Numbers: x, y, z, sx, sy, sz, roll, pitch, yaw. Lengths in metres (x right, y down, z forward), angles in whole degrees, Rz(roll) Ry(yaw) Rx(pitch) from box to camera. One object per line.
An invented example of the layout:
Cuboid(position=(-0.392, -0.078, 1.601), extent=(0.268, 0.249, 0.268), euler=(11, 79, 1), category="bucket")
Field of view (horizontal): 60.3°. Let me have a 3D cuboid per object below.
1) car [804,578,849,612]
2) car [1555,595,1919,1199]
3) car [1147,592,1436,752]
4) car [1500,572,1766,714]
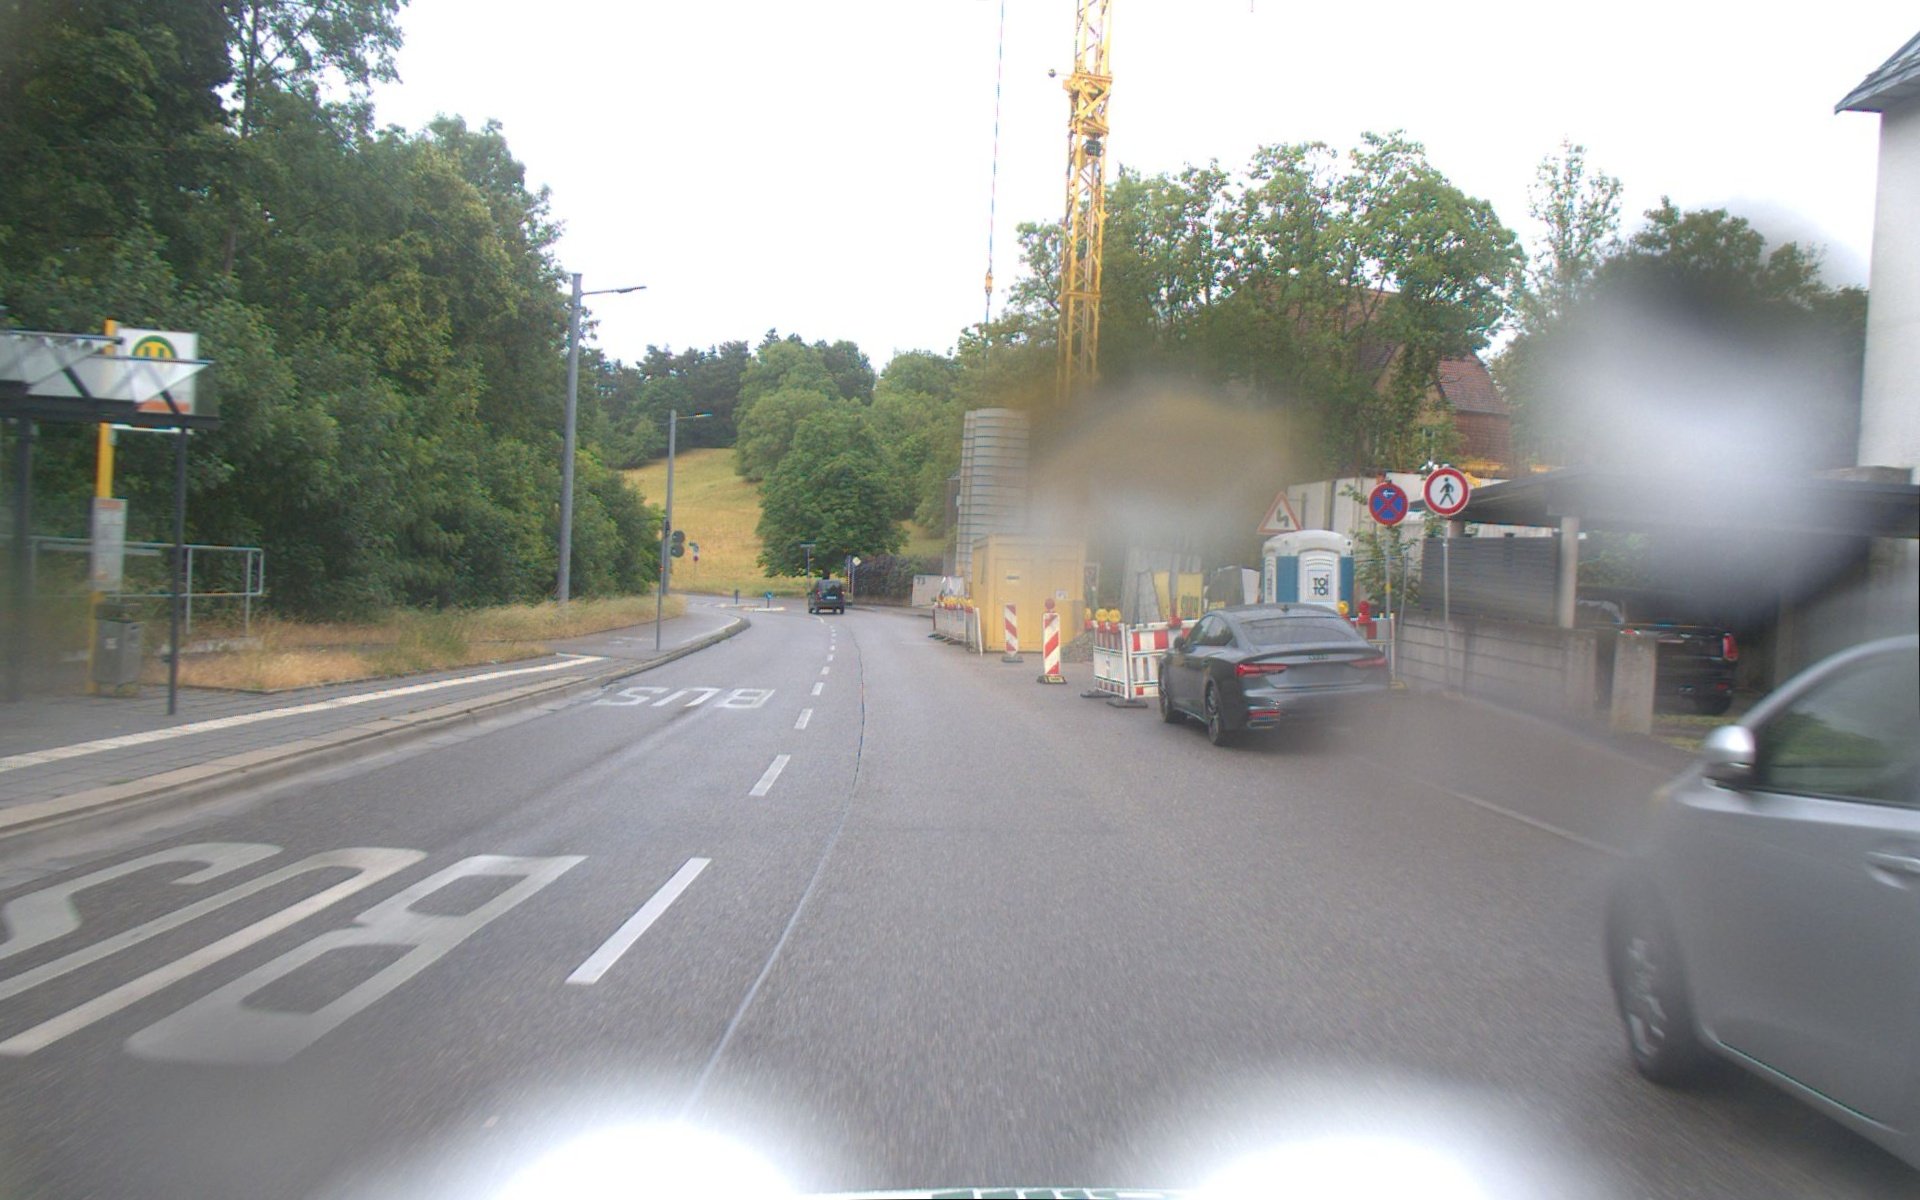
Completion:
Cuboid(position=(-7.469, -0.280, 92.230), extent=(1.898, 1.781, 3.988), euler=(1, 1, -13), category="car")
Cuboid(position=(3.024, 0.745, 4.431), extent=(1.638, 1.482, 3.386), euler=(1, 0, 0), category="car")
Cuboid(position=(3.476, 0.679, 18.361), extent=(1.894, 1.447, 4.833), euler=(-2, 1, -4), category="car")
Cuboid(position=(8.429, 0.485, 21.104), extent=(1.661, 1.497, 4.000), euler=(5, 0, 0), category="car")
